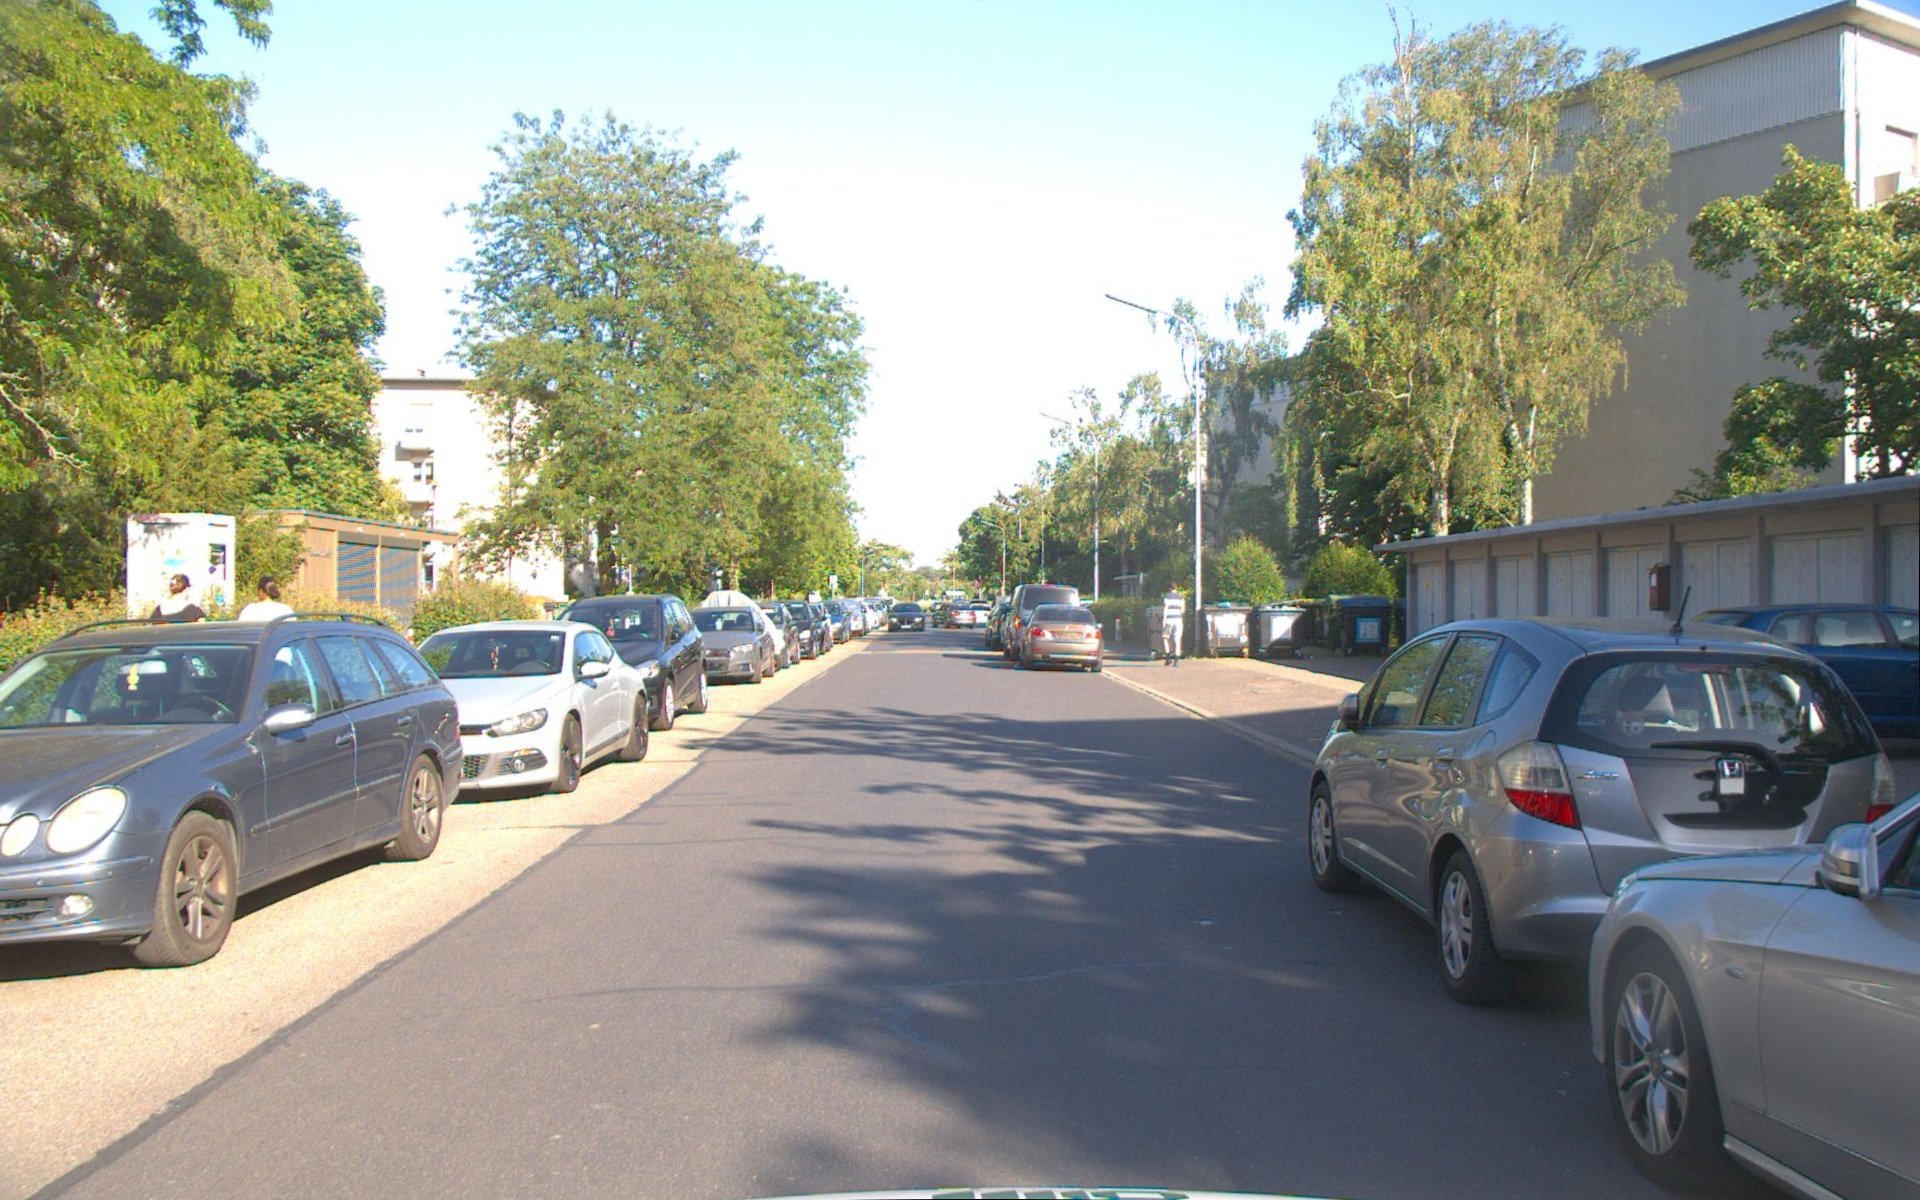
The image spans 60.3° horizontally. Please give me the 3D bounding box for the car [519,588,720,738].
[{"bbox_3d":[-4.272,0.740,21.388,1.719,1.664,4.369,-2,0,-1],"label":"car"}]

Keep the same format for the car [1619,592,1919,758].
[{"bbox_3d":[8.839,0.700,16.150,4.100,1.521,1.816,0,0,-4],"label":"car"}]

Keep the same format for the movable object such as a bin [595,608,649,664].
[{"bbox_3d":[-8.857,0.943,43.405,1.153,1.432,1.343,0,0,-1],"label":"movable object such as a bin"}]

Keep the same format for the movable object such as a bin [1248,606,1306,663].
[{"bbox_3d":[7.850,0.851,41.027,1.249,1.389,1.133,0,-1,2],"label":"movable object such as a bin"}]

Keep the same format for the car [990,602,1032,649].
[{"bbox_3d":[1.954,0.960,63.752,1.459,1.748,2.582,1,0,-2],"label":"car"}]

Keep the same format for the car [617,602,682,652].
[{"bbox_3d":[-10.178,0.860,54.413,1.539,1.552,3.997,1,0,-3],"label":"car"}]

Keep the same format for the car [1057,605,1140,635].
[{"bbox_3d":[7.451,1.076,89.255,4.325,1.540,1.828,-1,0,-1],"label":"car"}]

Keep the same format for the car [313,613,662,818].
[{"bbox_3d":[-3.880,0.883,14.350,1.718,1.450,4.210,-2,-1,1],"label":"car"}]

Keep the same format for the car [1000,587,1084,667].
[{"bbox_3d":[2.127,0.683,43.888,1.815,1.968,4.703,1,0,-2],"label":"car"}]

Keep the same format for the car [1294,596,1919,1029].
[{"bbox_3d":[2.829,0.756,7.739,1.767,1.521,3.795,0,0,0],"label":"car"}]

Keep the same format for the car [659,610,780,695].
[{"bbox_3d":[-4.529,0.948,31.663,1.719,1.445,4.268,-2,0,-1],"label":"car"}]

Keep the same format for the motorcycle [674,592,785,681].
[{"bbox_3d":[-4.877,0.766,35.161,2.212,1.757,0.931,-3,0,-4],"label":"motorcycle"}]

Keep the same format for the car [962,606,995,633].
[{"bbox_3d":[1.100,1.198,101.991,1.718,1.540,4.101,2,0,-3],"label":"car"}]

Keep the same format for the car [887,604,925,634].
[{"bbox_3d":[-2.767,0.956,84.709,1.872,1.502,4.569,-1,0,-1],"label":"car"}]

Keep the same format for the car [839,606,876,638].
[{"bbox_3d":[-5.152,1.101,82.804,1.631,1.540,3.532,-1,0,-7],"label":"car"}]

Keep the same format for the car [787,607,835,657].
[{"bbox_3d":[-5.053,1.074,56.366,1.415,1.601,3.141,-2,0,-2],"label":"car"}]

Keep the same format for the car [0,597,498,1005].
[{"bbox_3d":[-4.040,0.825,8.702,1.718,1.516,4.900,-3,-1,1],"label":"car"}]

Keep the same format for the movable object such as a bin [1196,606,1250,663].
[{"bbox_3d":[6.580,0.860,41.389,1.198,1.389,1.133,0,-1,2],"label":"movable object such as a bin"}]

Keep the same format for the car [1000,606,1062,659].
[{"bbox_3d":[2.136,0.954,50.621,1.590,1.516,4.034,1,0,-2],"label":"car"}]

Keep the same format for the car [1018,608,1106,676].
[{"bbox_3d":[2.290,0.929,38.259,1.764,1.443,4.636,1,0,0],"label":"car"}]

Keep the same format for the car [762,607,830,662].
[{"bbox_3d":[-4.898,1.013,49.816,1.719,1.507,4.535,-2,0,-2],"label":"car"}]

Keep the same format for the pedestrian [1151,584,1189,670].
[{"bbox_3d":[4.849,0.615,38.225,0.689,1.921,0.872,-2,-1,0],"label":"pedestrian"}]

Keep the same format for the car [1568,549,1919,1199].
[{"bbox_3d":[2.783,0.691,2.813,1.793,1.573,4.640,0,0,0],"label":"car"}]

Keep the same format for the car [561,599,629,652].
[{"bbox_3d":[-12.098,0.832,55.026,1.539,1.669,3.997,1,0,-3],"label":"car"}]

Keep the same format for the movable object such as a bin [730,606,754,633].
[{"bbox_3d":[-12.189,1.063,92.407,1.111,1.445,1.361,2,0,0],"label":"movable object such as a bin"}]

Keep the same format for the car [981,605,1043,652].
[{"bbox_3d":[1.738,0.948,56.502,1.697,1.516,4.498,-1,0,-4],"label":"car"}]

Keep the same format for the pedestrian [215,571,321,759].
[{"bbox_3d":[-6.393,0.591,15.302,0.706,1.708,0.616,0,-1,-1],"label":"pedestrian"}]

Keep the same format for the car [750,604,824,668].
[{"bbox_3d":[-4.668,0.942,45.047,1.719,1.601,3.718,-2,0,-3],"label":"car"}]

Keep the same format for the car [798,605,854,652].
[{"bbox_3d":[-4.972,1.031,61.814,1.718,1.634,3.968,-2,0,0],"label":"car"}]

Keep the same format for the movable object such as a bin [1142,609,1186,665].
[{"bbox_3d":[5.228,0.930,42.303,1.004,1.333,1.388,-3,-1,9],"label":"movable object such as a bin"}]

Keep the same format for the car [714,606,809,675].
[{"bbox_3d":[-4.686,0.931,39.583,1.718,1.507,3.959,-2,0,0],"label":"car"}]

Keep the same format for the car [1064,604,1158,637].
[{"bbox_3d":[7.355,0.990,81.046,4.421,1.540,1.829,-1,0,0],"label":"car"}]

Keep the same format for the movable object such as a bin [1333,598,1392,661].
[{"bbox_3d":[10.159,0.737,41.799,1.249,1.491,1.134,0,3,2],"label":"movable object such as a bin"}]

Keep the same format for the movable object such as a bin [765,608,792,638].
[{"bbox_3d":[-8.884,1.109,81.050,1.113,1.407,1.442,2,0,0],"label":"movable object such as a bin"}]

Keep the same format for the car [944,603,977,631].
[{"bbox_3d":[0.005,1.000,96.855,1.646,1.540,4.101,2,0,-3],"label":"car"}]

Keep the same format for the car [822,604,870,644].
[{"bbox_3d":[-4.995,1.034,72.736,1.864,1.668,4.347,-1,0,-1],"label":"car"}]

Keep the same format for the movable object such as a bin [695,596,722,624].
[{"bbox_3d":[-13.486,0.514,88.799,1.153,1.445,1.462,2,0,1],"label":"movable object such as a bin"}]

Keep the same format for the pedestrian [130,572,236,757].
[{"bbox_3d":[-7.292,0.596,15.542,0.706,1.708,0.600,0,-1,-1],"label":"pedestrian"}]

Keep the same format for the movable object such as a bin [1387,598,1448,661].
[{"bbox_3d":[11.519,0.738,41.716,1.249,1.491,1.134,0,3,2],"label":"movable object such as a bin"}]
